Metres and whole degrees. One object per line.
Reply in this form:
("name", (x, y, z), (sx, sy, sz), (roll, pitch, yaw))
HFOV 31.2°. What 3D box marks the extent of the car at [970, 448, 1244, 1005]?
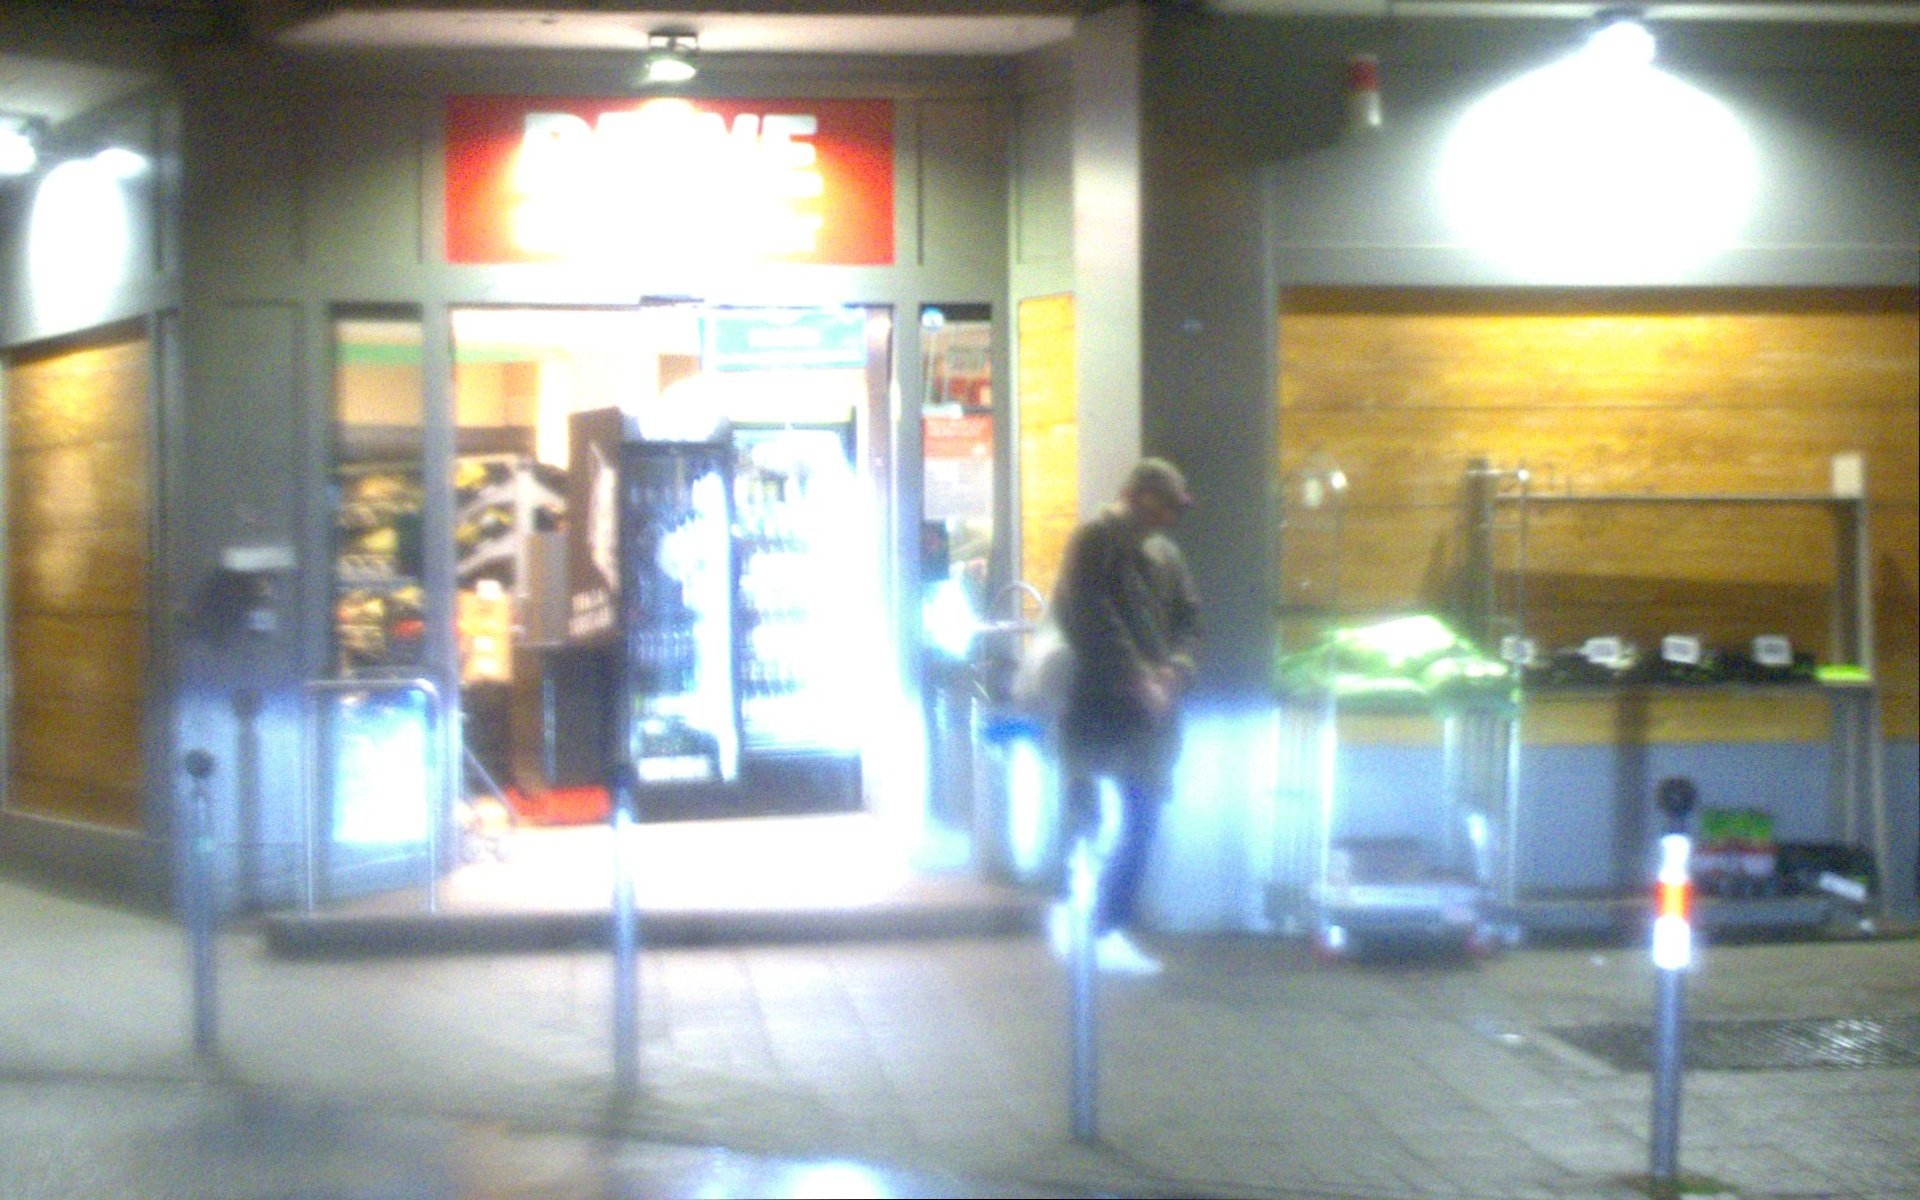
("car", (0.487, 0.410, 11.828), (0.874, 1.835, 0.964), (0, 1, -1))
